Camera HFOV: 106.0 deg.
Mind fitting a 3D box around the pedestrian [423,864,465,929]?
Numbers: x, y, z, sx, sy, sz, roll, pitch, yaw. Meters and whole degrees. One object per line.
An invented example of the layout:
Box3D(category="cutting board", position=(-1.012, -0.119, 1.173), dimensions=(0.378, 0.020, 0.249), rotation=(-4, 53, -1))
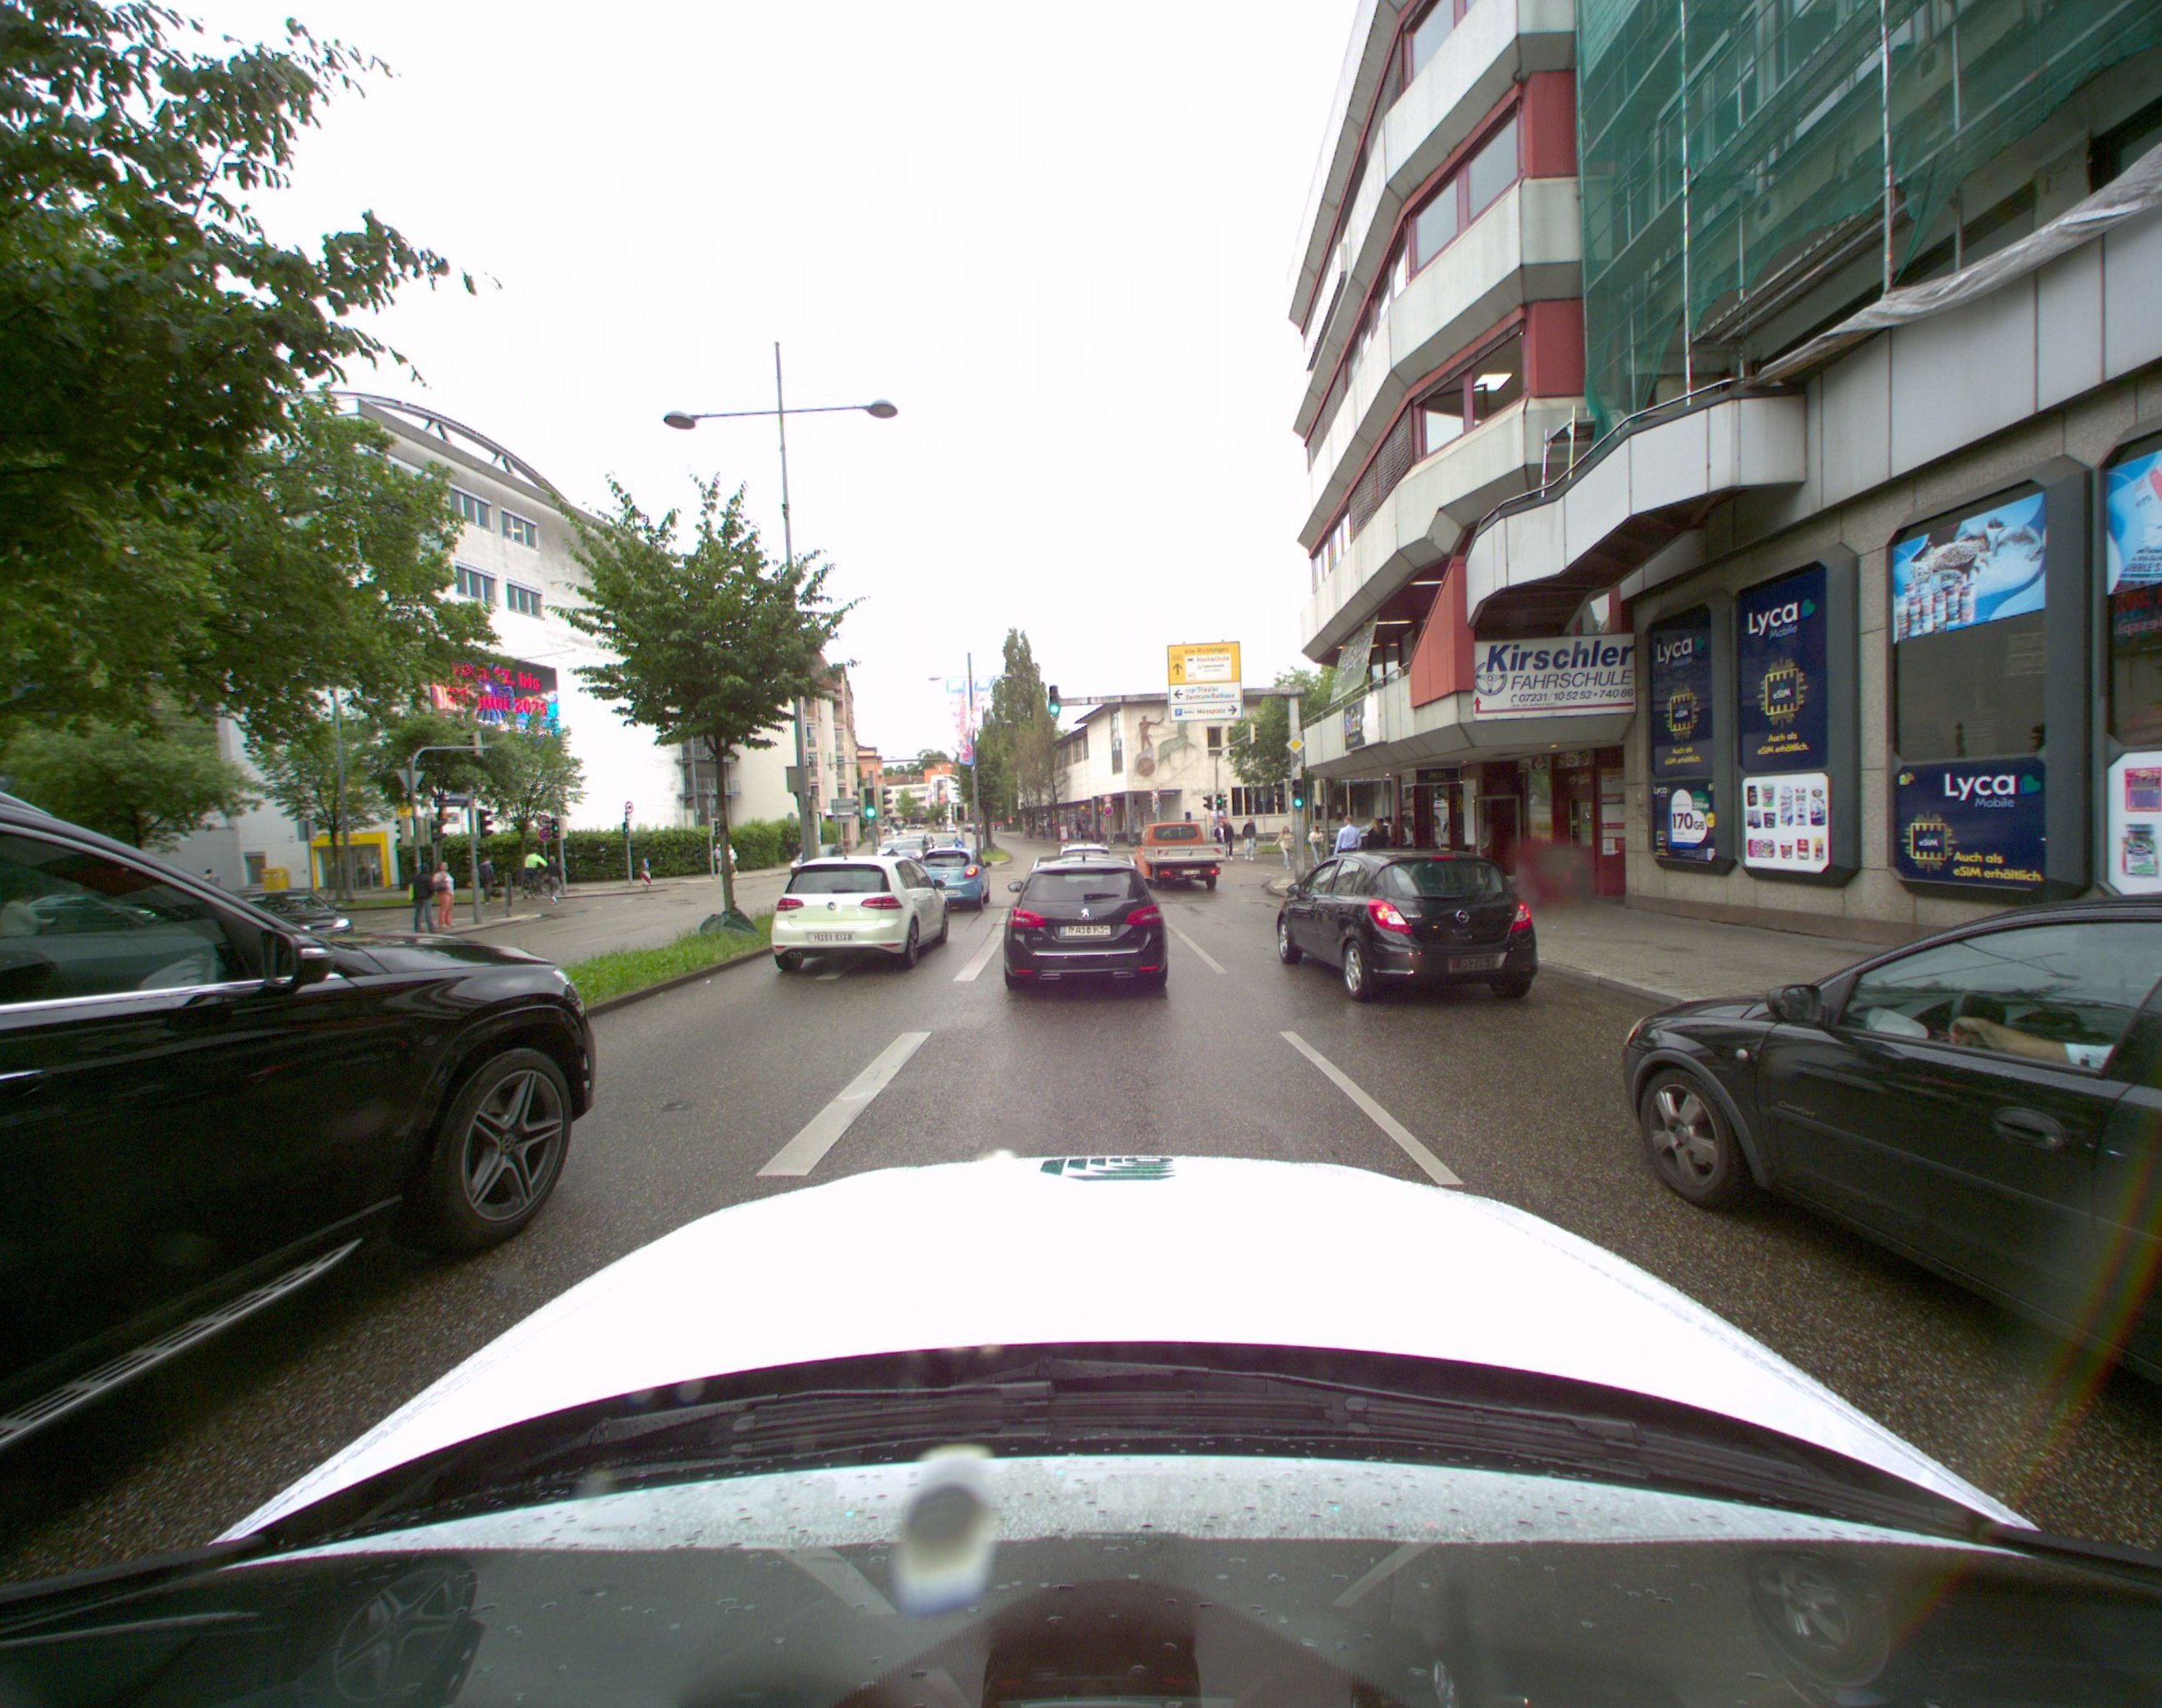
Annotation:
Box3D(category="pedestrian", position=(-16.996, 1.122, 21.737), dimensions=(0.555, 1.661, 0.580), rotation=(-2, 2, 2))

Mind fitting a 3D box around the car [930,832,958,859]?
Box3D(category="car", position=(-9.106, -0.537, 54.411), dimensions=(1.743, 1.640, 3.988), rotation=(0, -1, -9))

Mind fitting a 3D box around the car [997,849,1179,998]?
Box3D(category="car", position=(0.062, 0.672, 9.962), dimensions=(1.772, 1.429, 3.841), rotation=(-1, 1, 0))

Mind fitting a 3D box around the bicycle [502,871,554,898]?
Box3D(category="bicycle", position=(-21.663, 1.184, 31.939), dimensions=(0.613, 1.000, 1.941), rotation=(-3, -1, 2))

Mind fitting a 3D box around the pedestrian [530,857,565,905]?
Box3D(category="pedestrian", position=(-18.967, 0.948, 28.972), dimensions=(0.750, 1.661, 0.628), rotation=(-2, 2, 1))

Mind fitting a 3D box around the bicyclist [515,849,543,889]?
Box3D(category="bicyclist", position=(-21.705, 0.604, 32.044), dimensions=(0.629, 1.530, 0.609), rotation=(-3, -1, 1))

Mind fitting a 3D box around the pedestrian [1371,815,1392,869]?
Box3D(category="pedestrian", position=(9.666, -0.376, 26.178), dimensions=(0.424, 1.682, 0.450), rotation=(-3, -1, 0))

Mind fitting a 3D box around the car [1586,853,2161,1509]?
Box3D(category="car", position=(3.250, 0.746, 2.260), dimensions=(1.600, 1.429, 3.626), rotation=(-1, 1, 3))

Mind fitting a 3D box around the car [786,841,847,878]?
Box3D(category="car", position=(-11.659, 0.211, 36.086), dimensions=(1.569, 1.486, 3.608), rotation=(-1, 1, -1))

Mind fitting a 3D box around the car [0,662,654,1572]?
Box3D(category="car", position=(-3.180, 0.548, 1.635), dimensions=(1.905, 1.870, 5.073), rotation=(-1, -1, 1))

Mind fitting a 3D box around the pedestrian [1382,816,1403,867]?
Box3D(category="pedestrian", position=(10.129, -0.392, 26.481), dimensions=(0.395, 1.640, 0.504), rotation=(-3, -1, 2))

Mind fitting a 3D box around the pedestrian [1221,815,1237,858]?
Box3D(category="pedestrian", position=(6.648, -0.765, 36.624), dimensions=(0.633, 1.897, 0.735), rotation=(-1, -1, 8))

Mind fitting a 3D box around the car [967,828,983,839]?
Box3D(category="car", position=(-16.497, -3.195, 126.615), dimensions=(1.790, 1.454, 4.485), rotation=(-5, 3, -14))

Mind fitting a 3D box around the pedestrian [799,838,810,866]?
Box3D(category="pedestrian", position=(-17.729, -0.140, 52.244), dimensions=(0.538, 1.748, 0.564), rotation=(-1, -1, -3))

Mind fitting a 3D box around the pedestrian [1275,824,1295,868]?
Box3D(category="pedestrian", position=(7.842, -0.303, 31.303), dimensions=(0.633, 1.659, 0.735), rotation=(-1, -1, 8))

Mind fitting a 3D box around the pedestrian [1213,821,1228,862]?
Box3D(category="pedestrian", position=(6.043, -0.542, 35.295), dimensions=(0.633, 1.758, 0.735), rotation=(-1, -1, 8))

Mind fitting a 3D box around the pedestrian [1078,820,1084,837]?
Box3D(category="pedestrian", position=(-0.009, -2.573, 82.837), dimensions=(0.469, 1.748, 0.537), rotation=(0, -1, -19))

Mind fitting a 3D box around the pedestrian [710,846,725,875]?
Box3D(category="pedestrian", position=(-19.808, 0.354, 44.366), dimensions=(0.579, 1.599, 0.526), rotation=(-1, -1, -5))

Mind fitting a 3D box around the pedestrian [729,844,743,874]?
Box3D(category="pedestrian", position=(-18.857, 0.269, 44.507), dimensions=(0.579, 1.599, 0.526), rotation=(-1, -1, -5))

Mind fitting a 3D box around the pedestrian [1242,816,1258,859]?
Box3D(category="pedestrian", position=(7.581, -0.747, 36.563), dimensions=(0.633, 1.897, 0.735), rotation=(-1, -1, 8))

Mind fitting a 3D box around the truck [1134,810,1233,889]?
Box3D(category="truck", position=(2.997, -0.178, 25.023), dimensions=(2.172, 2.172, 5.015), rotation=(-1, 1, -3))

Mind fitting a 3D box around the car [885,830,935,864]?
Box3D(category="car", position=(-8.647, -0.321, 41.421), dimensions=(1.739, 1.579, 3.997), rotation=(-1, -1, -1))

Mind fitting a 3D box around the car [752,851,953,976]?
Box3D(category="car", position=(-3.037, 0.706, 11.678), dimensions=(1.772, 1.429, 3.842), rotation=(-1, 1, 0))

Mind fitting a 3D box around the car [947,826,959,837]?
Box3D(category="car", position=(-23.357, -4.101, 148.896), dimensions=(1.709, 1.882, 3.979), rotation=(0, -1, -15))

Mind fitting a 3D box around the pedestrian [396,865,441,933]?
Box3D(category="pedestrian", position=(-16.764, 1.134, 20.607), dimensions=(0.555, 1.661, 0.580), rotation=(-2, 2, 2))

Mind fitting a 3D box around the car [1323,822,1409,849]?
Box3D(category="car", position=(13.975, -0.879, 40.063), dimensions=(3.669, 1.212, 1.839), rotation=(-1, -1, 6))

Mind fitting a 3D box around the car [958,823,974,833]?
Box3D(category="car", position=(-20.174, -4.492, 142.999), dimensions=(1.732, 1.490, 4.697), rotation=(0, -1, -22))

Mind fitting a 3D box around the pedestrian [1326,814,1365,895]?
Box3D(category="pedestrian", position=(6.414, 0.017, 19.785), dimensions=(0.733, 1.935, 0.640), rotation=(-1, -1, 1))

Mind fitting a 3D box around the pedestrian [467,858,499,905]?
Box3D(category="pedestrian", position=(-22.256, 1.013, 30.310), dimensions=(0.637, 1.666, 0.580), rotation=(-2, 2, 1))

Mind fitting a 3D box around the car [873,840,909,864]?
Box3D(category="car", position=(-12.007, -0.160, 51.724), dimensions=(1.630, 1.486, 3.604), rotation=(-1, 1, -4))

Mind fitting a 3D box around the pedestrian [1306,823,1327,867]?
Box3D(category="pedestrian", position=(9.013, -0.334, 31.152), dimensions=(0.633, 1.659, 0.735), rotation=(-1, -1, 8))

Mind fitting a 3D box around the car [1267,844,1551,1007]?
Box3D(category="car", position=(3.378, 0.615, 9.203), dimensions=(1.611, 1.429, 3.840), rotation=(-1, 1, -1))

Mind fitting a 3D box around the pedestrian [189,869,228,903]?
Box3D(category="pedestrian", position=(-41.089, 1.502, 38.372), dimensions=(1.059, 1.578, 0.683), rotation=(-1, -1, -3))

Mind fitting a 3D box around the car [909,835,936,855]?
Box3D(category="car", position=(-12.281, -0.736, 63.260), dimensions=(1.630, 1.486, 3.604), rotation=(-1, 1, -4))

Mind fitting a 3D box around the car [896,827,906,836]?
Box3D(category="car", position=(-42.980, -5.265, 193.974), dimensions=(1.999, 2.014, 3.976), rotation=(0, -1, -18))

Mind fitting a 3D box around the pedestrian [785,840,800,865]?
Box3D(category="pedestrian", position=(-18.945, -0.086, 53.450), dimensions=(0.634, 1.643, 0.735), rotation=(-1, -1, 5))

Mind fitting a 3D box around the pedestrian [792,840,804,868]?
Box3D(category="pedestrian", position=(-17.532, 0.005, 50.505), dimensions=(0.538, 1.748, 0.745), rotation=(-1, -1, -7))

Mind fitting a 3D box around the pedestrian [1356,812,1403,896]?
Box3D(category="pedestrian", position=(7.241, 0.005, 19.781), dimensions=(0.733, 1.934, 0.640), rotation=(-5, -1, 1))

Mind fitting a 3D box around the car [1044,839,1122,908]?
Box3D(category="car", position=(0.102, 0.392, 19.845), dimensions=(1.690, 1.486, 3.795), rotation=(-1, 1, 2))

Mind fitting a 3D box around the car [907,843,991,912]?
Box3D(category="car", position=(-3.177, 0.506, 20.212), dimensions=(1.629, 1.486, 3.606), rotation=(-1, 1, -3))
